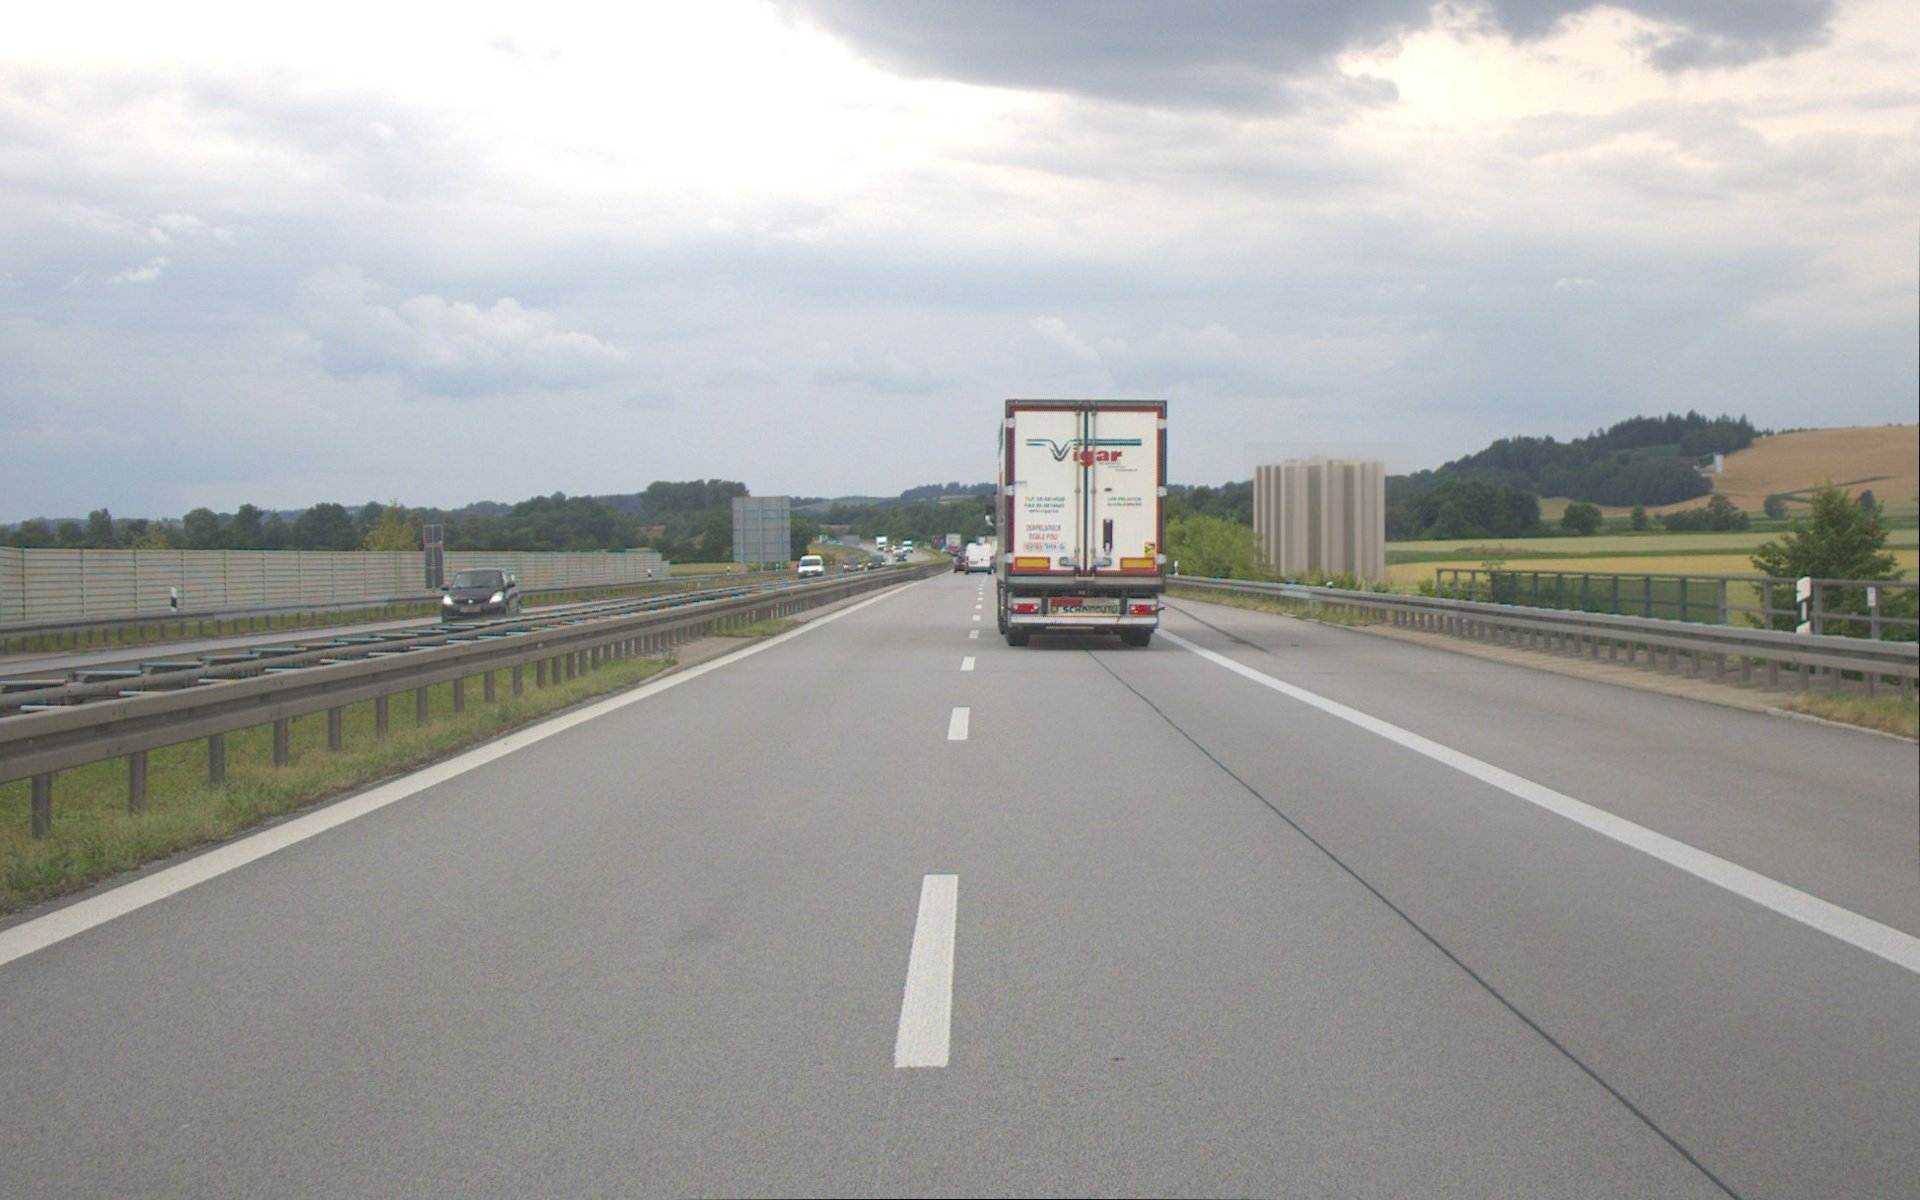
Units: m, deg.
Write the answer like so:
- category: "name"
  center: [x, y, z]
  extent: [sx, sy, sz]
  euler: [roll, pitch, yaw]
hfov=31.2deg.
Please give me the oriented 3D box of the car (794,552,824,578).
- category: "car"
  center: [-10.705, -2.497, 244.296]
  extent: [1.755, 1.736, 4.914]
  euler: [-4, 1, 1]

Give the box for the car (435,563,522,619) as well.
- category: "car"
  center: [-12.584, -0.252, 89.955]
  extent: [1.670, 1.381, 4.000]
  euler: [-2, 1, 0]

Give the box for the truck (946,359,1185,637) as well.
- category: "truck"
  center: [1.653, -1.778, 62.980]
  extent: [3.672, 4.397, 16.342]
  euler: [-1, 1, -1]
